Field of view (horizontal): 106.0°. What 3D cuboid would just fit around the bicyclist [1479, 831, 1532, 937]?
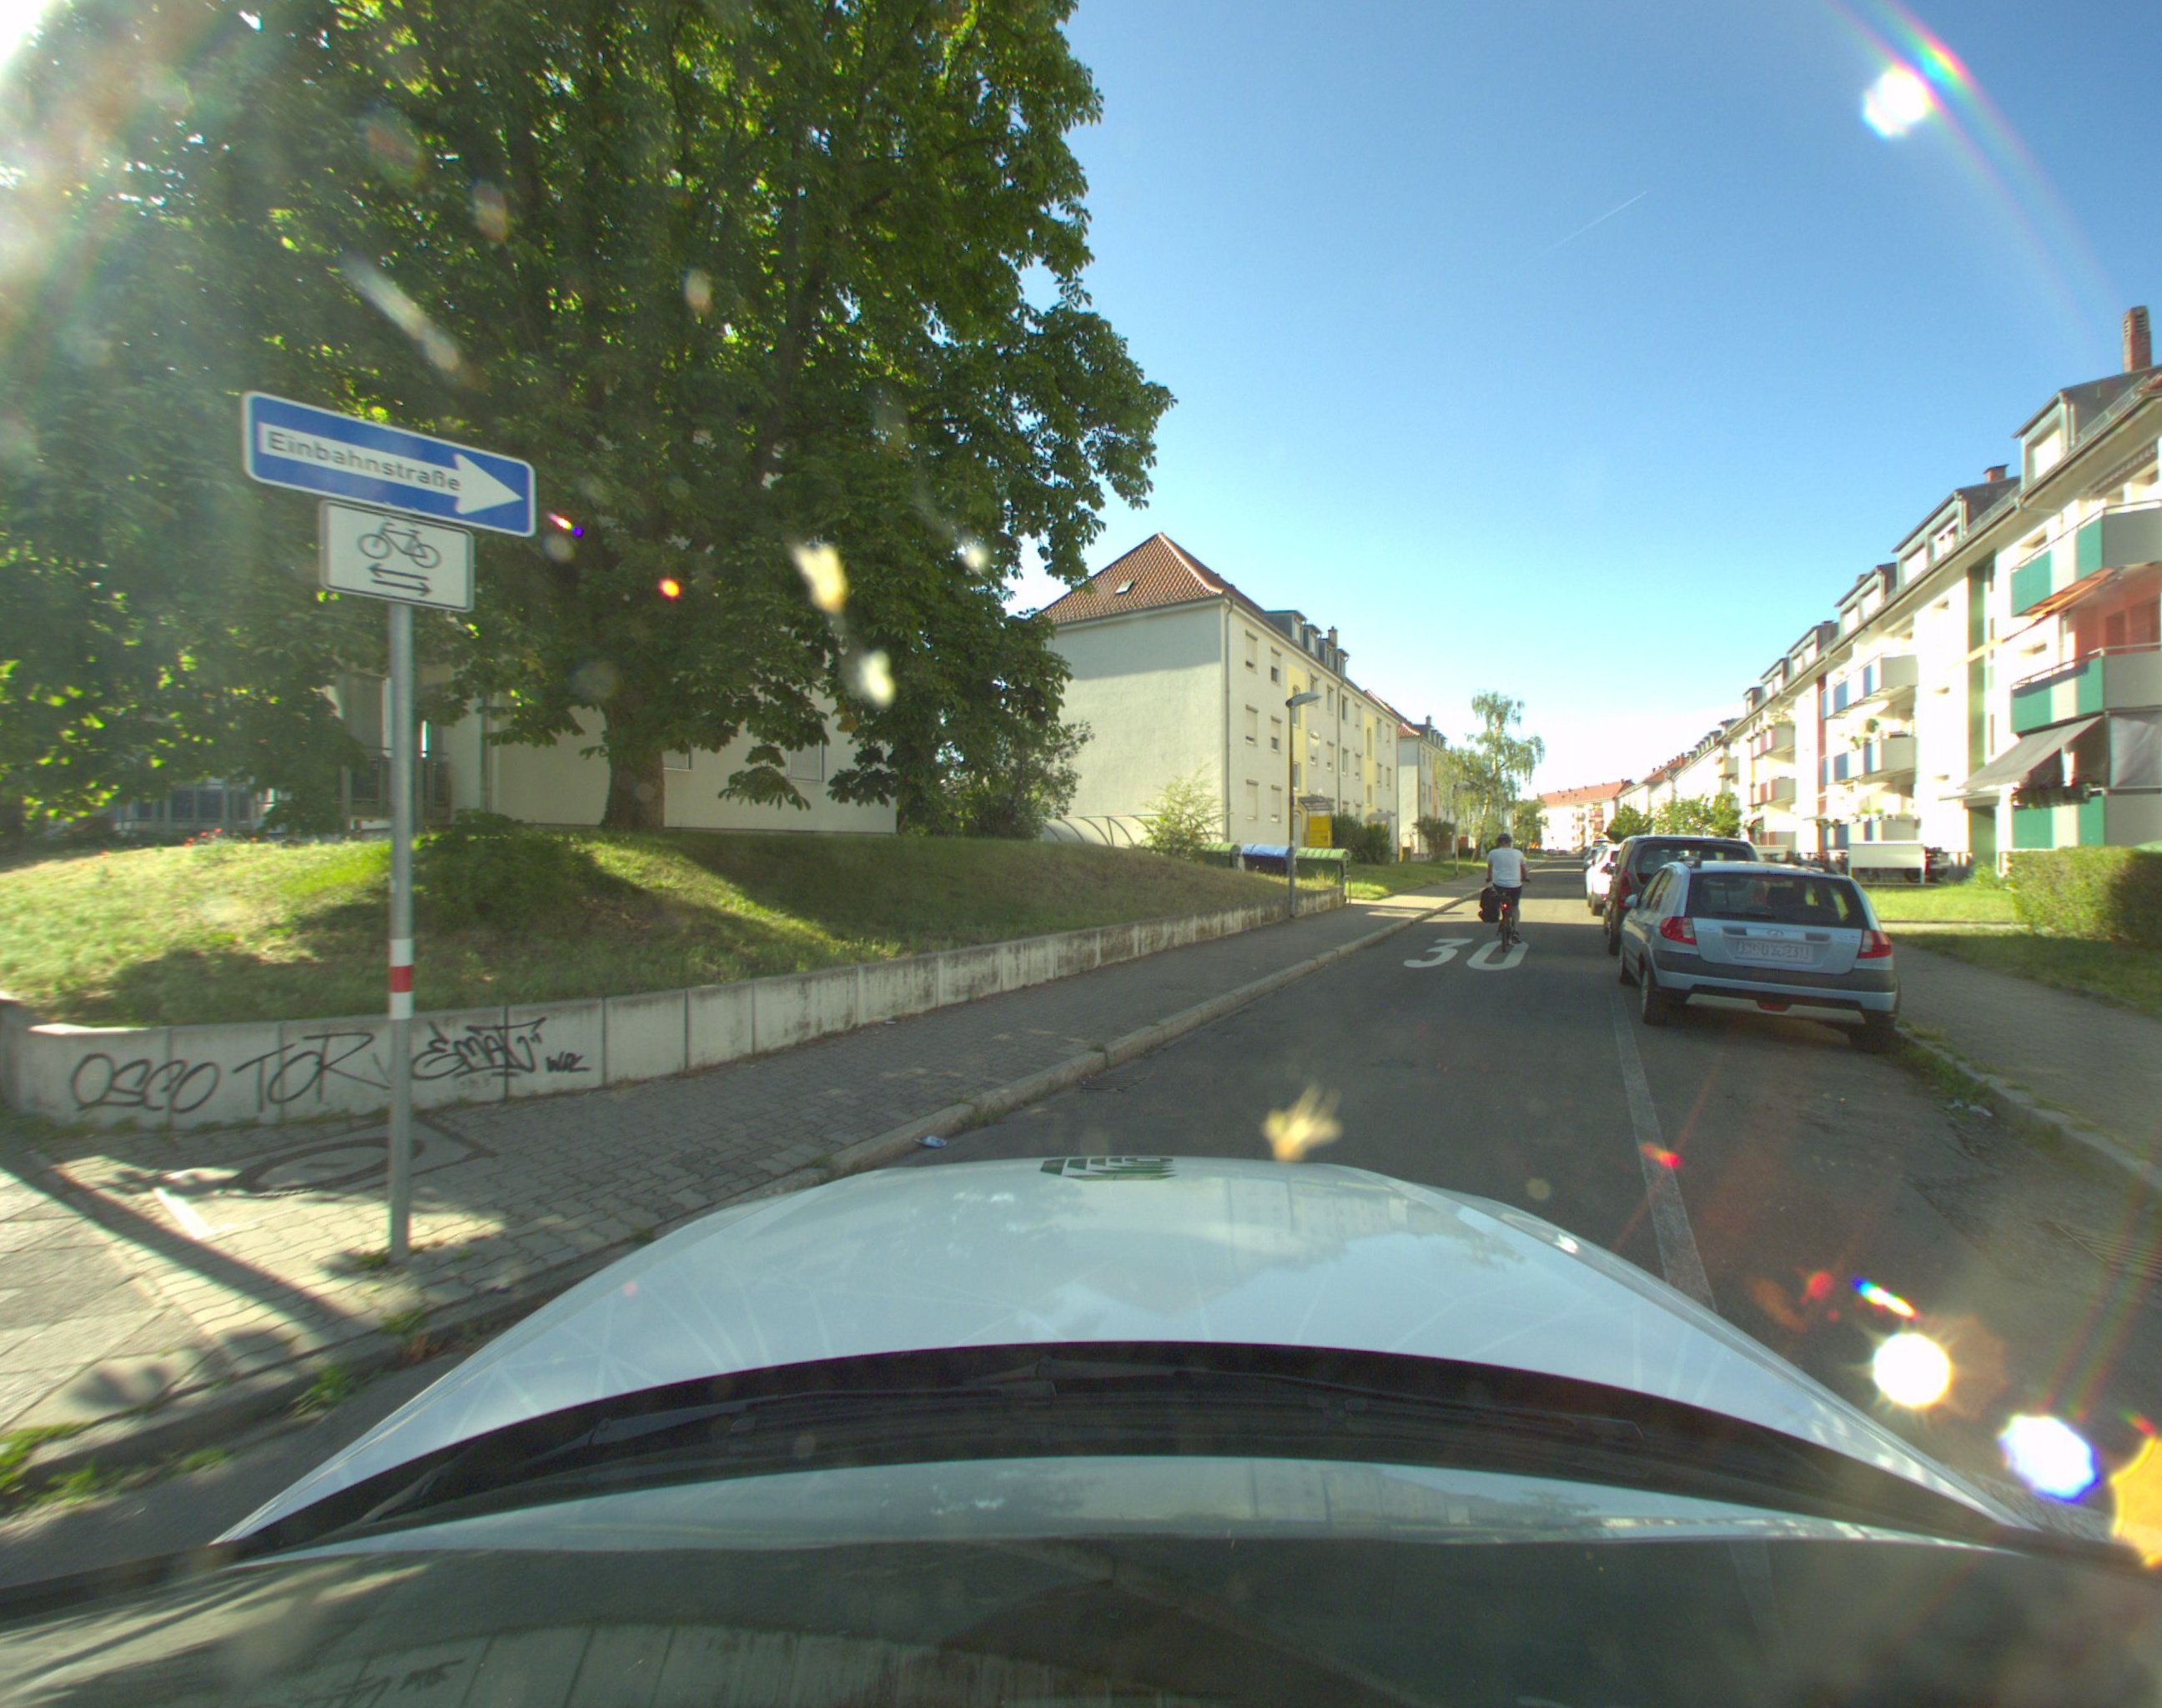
[{"bbox_3d":[6.664,0.451,12.775,0.687,1.596,0.796,-1,0,30],"label":"bicyclist"}]

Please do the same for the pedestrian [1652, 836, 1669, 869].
[{"bbox_3d":[35.960,-0.066,50.555,0.783,2.013,1.089,-1,0,32],"label":"pedestrian"}]

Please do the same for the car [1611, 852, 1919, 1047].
[{"bbox_3d":[6.453,0.706,8.158,1.637,1.429,3.924,0,0,29],"label":"car"}]

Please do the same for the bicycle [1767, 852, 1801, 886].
[{"bbox_3d":[23.167,0.480,26.865,0.553,1.093,1.913,-1,0,32],"label":"bicycle"}]

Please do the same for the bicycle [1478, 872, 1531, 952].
[{"bbox_3d":[6.706,0.868,12.848,0.654,1.127,1.777,1,0,30],"label":"bicycle"}]

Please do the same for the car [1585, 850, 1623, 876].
[{"bbox_3d":[31.767,0.536,49.535,1.876,1.496,4.118,0,0,32],"label":"car"}]

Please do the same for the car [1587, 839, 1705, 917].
[{"bbox_3d":[12.967,0.480,18.934,1.964,1.592,4.150,0,0,31],"label":"car"}]

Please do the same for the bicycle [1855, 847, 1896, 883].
[{"bbox_3d":[25.326,0.326,25.982,0.553,1.104,1.841,-1,0,32],"label":"bicycle"}]

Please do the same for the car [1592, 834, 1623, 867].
[{"bbox_3d":[35.114,-0.236,54.365,1.603,2.143,4.025,0,0,32],"label":"car"}]

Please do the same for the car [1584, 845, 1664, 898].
[{"bbox_3d":[15.744,0.447,23.746,1.740,1.432,3.651,0,0,30],"label":"car"}]

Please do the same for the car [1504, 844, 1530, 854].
[{"bbox_3d":[77.462,-0.877,144.616,3.948,1.801,2.013,-1,0,31],"label":"car"}]

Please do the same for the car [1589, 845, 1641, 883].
[{"bbox_3d":[22.262,0.379,34.063,1.616,1.490,3.646,2,1,31],"label":"car"}]

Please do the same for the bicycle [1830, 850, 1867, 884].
[{"bbox_3d":[24.768,0.398,26.296,0.509,1.054,1.877,-1,0,32],"label":"bicycle"}]

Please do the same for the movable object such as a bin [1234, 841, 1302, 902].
[{"bbox_3d":[5.180,0.461,22.525,1.484,1.622,1.271,0,0,32],"label":"movable object such as a bin"}]

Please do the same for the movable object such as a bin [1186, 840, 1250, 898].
[{"bbox_3d":[3.912,0.411,23.265,1.445,1.613,1.198,0,0,32],"label":"movable object such as a bin"}]

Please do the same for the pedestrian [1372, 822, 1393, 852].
[{"bbox_3d":[17.353,-0.961,46.850,0.961,1.715,0.952,-1,0,32],"label":"pedestrian"}]

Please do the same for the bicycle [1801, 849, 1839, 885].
[{"bbox_3d":[23.990,0.403,26.457,0.553,1.093,1.913,-1,0,32],"label":"bicycle"}]

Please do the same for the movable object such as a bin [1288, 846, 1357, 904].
[{"bbox_3d":[6.491,0.535,21.826,1.478,1.478,1.273,0,0,32],"label":"movable object such as a bin"}]

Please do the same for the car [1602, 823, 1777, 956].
[{"bbox_3d":[9.362,0.447,12.861,1.845,1.730,4.322,0,0,32],"label":"car"}]
